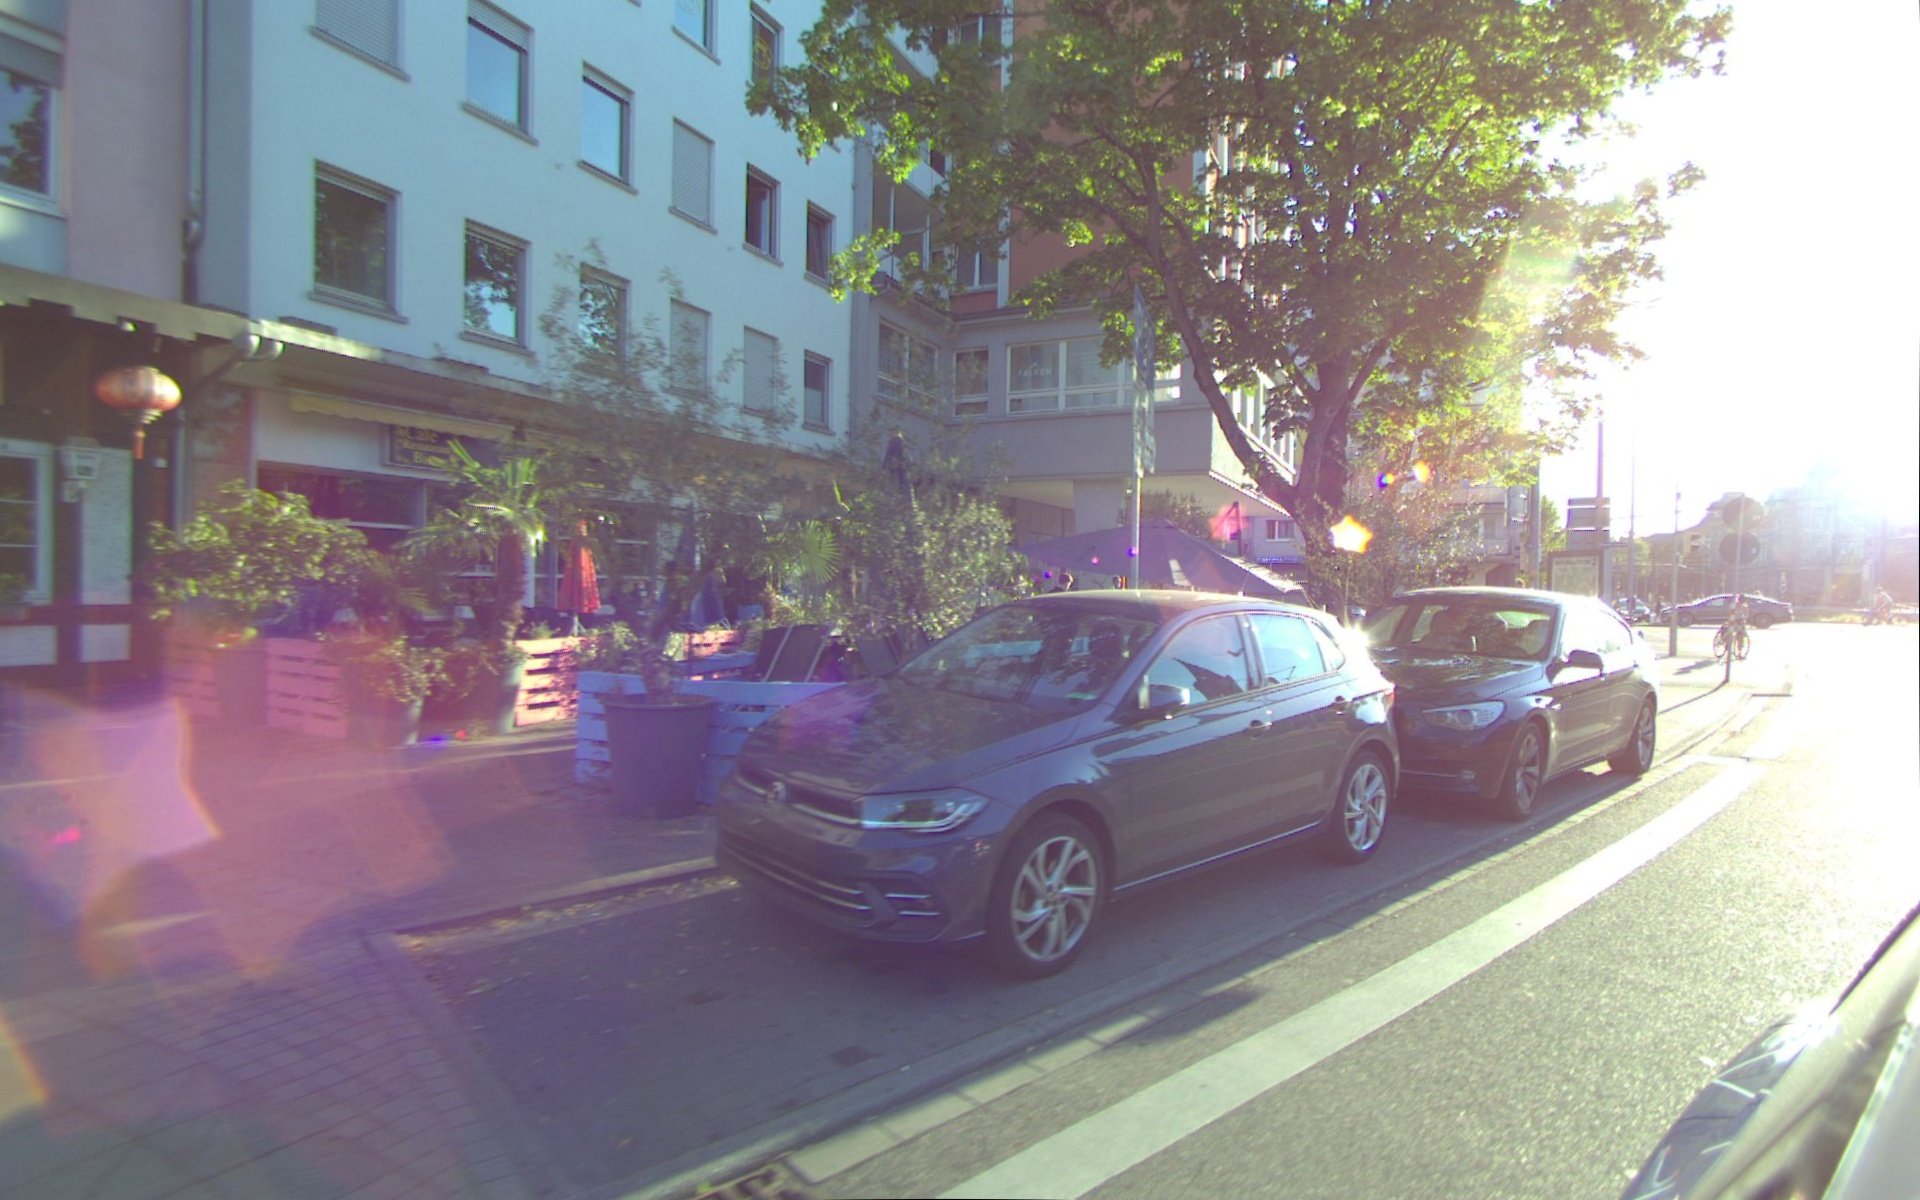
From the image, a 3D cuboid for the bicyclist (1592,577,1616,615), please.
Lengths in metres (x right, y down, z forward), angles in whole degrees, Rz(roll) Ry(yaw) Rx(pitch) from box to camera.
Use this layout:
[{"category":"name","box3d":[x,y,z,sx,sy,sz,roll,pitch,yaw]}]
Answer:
[{"category":"bicyclist","box3d":[27.513,-0.179,43.238,0.816,1.588,0.726,0,0,29]}]

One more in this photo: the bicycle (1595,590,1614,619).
[{"category":"bicycle","box3d":[27.398,0.169,43.054,0.486,1.197,1.953,0,0,27]}]

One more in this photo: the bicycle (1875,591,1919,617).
[{"category":"bicycle","box3d":[44.801,0.173,48.022,1.956,1.197,0.485,1,0,32]}]

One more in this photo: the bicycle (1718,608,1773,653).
[{"category":"bicycle","box3d":[19.124,0.722,24.667,0.509,1.040,1.782,0,0,20]}]

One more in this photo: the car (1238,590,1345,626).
[{"category":"car","box3d":[14.333,0.338,43.773,4.149,1.443,1.914,0,2,27]}]

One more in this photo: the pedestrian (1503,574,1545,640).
[{"category":"pedestrian","box3d":[17.118,0.195,30.746,0.830,1.982,0.704,1,1,-15]}]

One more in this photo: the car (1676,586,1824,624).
[{"category":"car","box3d":[34.951,0.182,44.979,5.010,1.454,1.856,2,3,35]}]

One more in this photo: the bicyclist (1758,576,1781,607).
[{"category":"bicyclist","box3d":[41.111,-0.438,51.397,0.727,1.588,0.815,0,0,28]}]

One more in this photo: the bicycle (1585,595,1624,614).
[{"category":"bicycle","box3d":[38.225,0.267,60.020,1.941,1.134,0.453,0,0,30]}]

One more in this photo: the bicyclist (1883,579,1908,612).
[{"category":"bicyclist","box3d":[44.536,-0.218,48.199,0.728,1.588,0.814,0,0,32]}]

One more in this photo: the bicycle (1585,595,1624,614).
[{"category":"bicycle","box3d":[38.642,0.241,60.715,1.941,1.134,0.453,0,0,30]}]

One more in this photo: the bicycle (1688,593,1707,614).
[{"category":"bicycle","box3d":[44.862,0.210,61.563,0.570,1.215,2.185,0,0,27]}]

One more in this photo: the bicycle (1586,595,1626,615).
[{"category":"bicycle","box3d":[37.965,0.280,59.461,1.941,1.134,0.453,0,0,30]}]

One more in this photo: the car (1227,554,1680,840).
[{"category":"car","box3d":[4.255,0.575,8.289,4.732,1.691,1.806,0,0,-43]}]

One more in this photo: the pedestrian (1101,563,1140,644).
[{"category":"pedestrian","box3d":[3.537,0.078,22.262,0.649,1.746,0.870,0,0,25]}]

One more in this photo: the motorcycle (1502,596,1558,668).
[{"category":"motorcycle","box3d":[11.354,0.594,20.128,0.640,1.361,2.172,0,0,38]}]

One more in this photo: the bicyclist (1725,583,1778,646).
[{"category":"bicyclist","box3d":[19.055,0.336,24.382,0.788,1.499,0.801,0,0,20]}]

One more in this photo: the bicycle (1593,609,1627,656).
[{"category":"bicycle","box3d":[15.368,0.743,23.936,0.357,1.040,1.781,0,0,22]}]

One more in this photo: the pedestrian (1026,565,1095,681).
[{"category":"pedestrian","box3d":[1.598,0.342,15.967,0.883,1.747,0.769,2,0,19]}]

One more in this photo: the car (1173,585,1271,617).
[{"category":"car","box3d":[12.643,0.035,48.963,4.211,1.487,1.977,0,1,33]}]

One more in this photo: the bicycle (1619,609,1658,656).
[{"category":"bicycle","box3d":[15.923,0.737,23.768,0.356,1.040,1.782,0,0,20]}]

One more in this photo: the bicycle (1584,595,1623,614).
[{"category":"bicycle","box3d":[38.884,0.242,61.166,1.941,1.134,0.453,0,0,30]}]

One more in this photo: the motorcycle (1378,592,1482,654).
[{"category":"motorcycle","box3d":[10.726,0.515,23.140,2.127,1.371,0.637,0,0,27]}]

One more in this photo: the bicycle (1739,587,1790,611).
[{"category":"bicycle","box3d":[40.910,-0.072,51.479,1.953,1.197,0.485,0,0,29]}]

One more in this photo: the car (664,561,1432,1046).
[{"category":"car","box3d":[0.717,0.648,5.201,3.996,1.554,1.653,0,0,-41]}]

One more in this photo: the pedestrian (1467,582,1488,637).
[{"category":"pedestrian","box3d":[16.015,0.291,31.311,0.514,1.665,0.700,1,0,30]}]

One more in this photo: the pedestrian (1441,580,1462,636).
[{"category":"pedestrian","box3d":[15.385,0.253,31.652,0.514,1.714,0.764,1,1,30]}]

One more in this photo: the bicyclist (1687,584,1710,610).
[{"category":"bicyclist","box3d":[44.823,-0.201,61.425,0.987,1.557,0.914,0,0,27]}]

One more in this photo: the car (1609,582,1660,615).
[{"category":"car","box3d":[43.195,-0.085,64.893,1.977,2.039,3.969,0,0,23]}]
